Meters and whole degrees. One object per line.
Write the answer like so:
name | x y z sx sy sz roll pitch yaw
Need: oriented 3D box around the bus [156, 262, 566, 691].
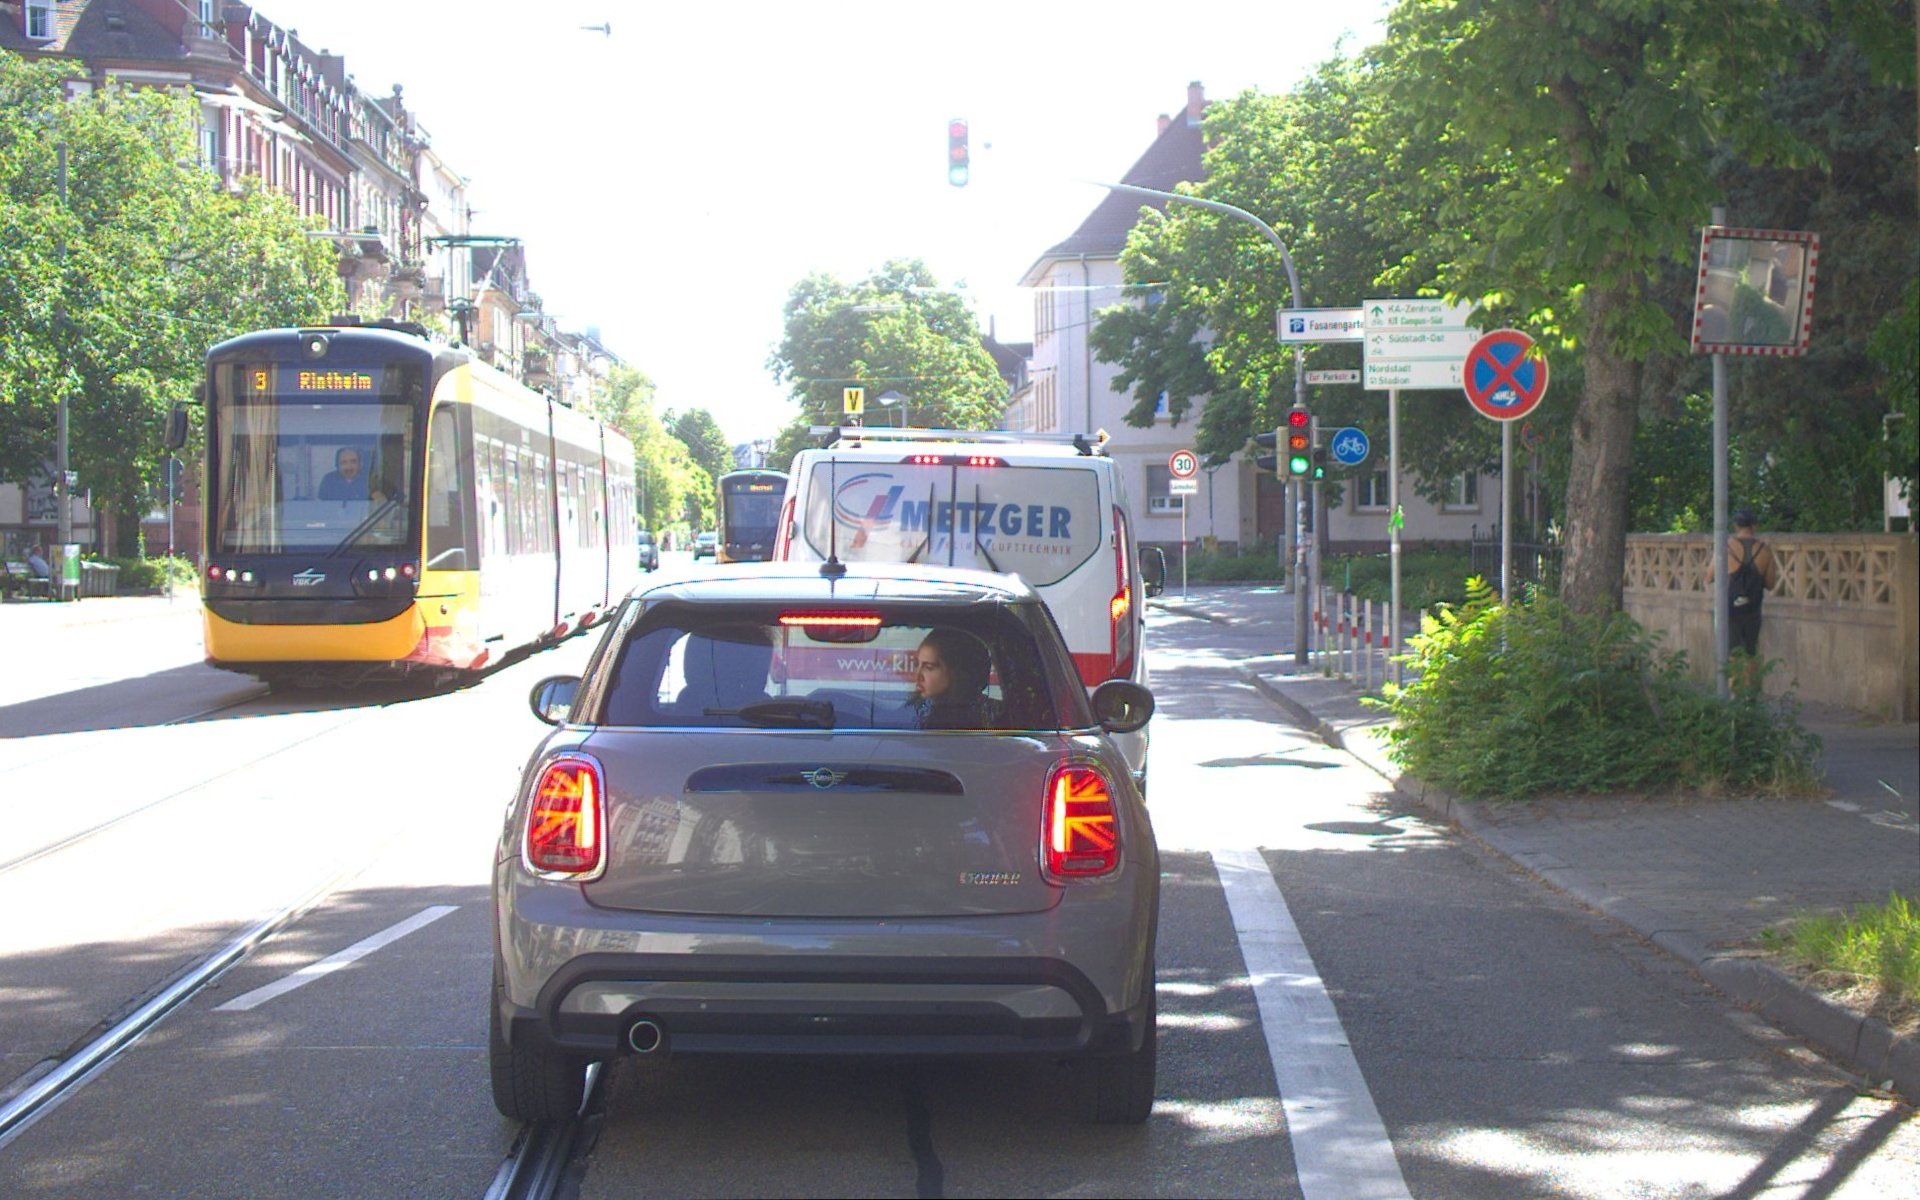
bus | -5.971 -1.151 36.264 2.859 3.764 11.499 1 1 -3

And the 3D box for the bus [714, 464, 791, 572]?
bus | -7.013 -2.717 115.600 2.385 3.484 7.385 1 1 -5

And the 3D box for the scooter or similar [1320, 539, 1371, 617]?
scooter or similar | 6.588 -0.376 58.824 0.676 1.305 1.329 1 0 -1

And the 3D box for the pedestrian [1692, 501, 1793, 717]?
pedestrian | 6.157 0.068 27.072 0.592 1.665 0.647 -2 0 -1

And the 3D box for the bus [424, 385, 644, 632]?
bus | -7.139 -1.474 59.207 2.849 3.764 12.199 1 1 -3

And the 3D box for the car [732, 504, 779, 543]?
car | -8.374 -3.122 140.855 1.863 1.558 4.001 1 1 -4

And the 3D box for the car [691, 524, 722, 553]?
car | -14.979 -3.628 203.422 1.775 1.612 4.001 1 1 -4

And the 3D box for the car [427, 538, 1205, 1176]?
car | -0.362 0.587 10.110 1.815 1.483 4.000 1 1 -1

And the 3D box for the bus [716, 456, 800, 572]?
bus | -6.400 -2.653 108.219 2.385 3.484 7.385 1 1 -5

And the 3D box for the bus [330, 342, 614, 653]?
bus | -6.529 -1.310 47.611 2.859 3.764 11.185 1 1 -3

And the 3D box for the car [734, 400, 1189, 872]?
car | -0.020 0.147 18.696 2.118 2.200 4.945 1 1 -1
